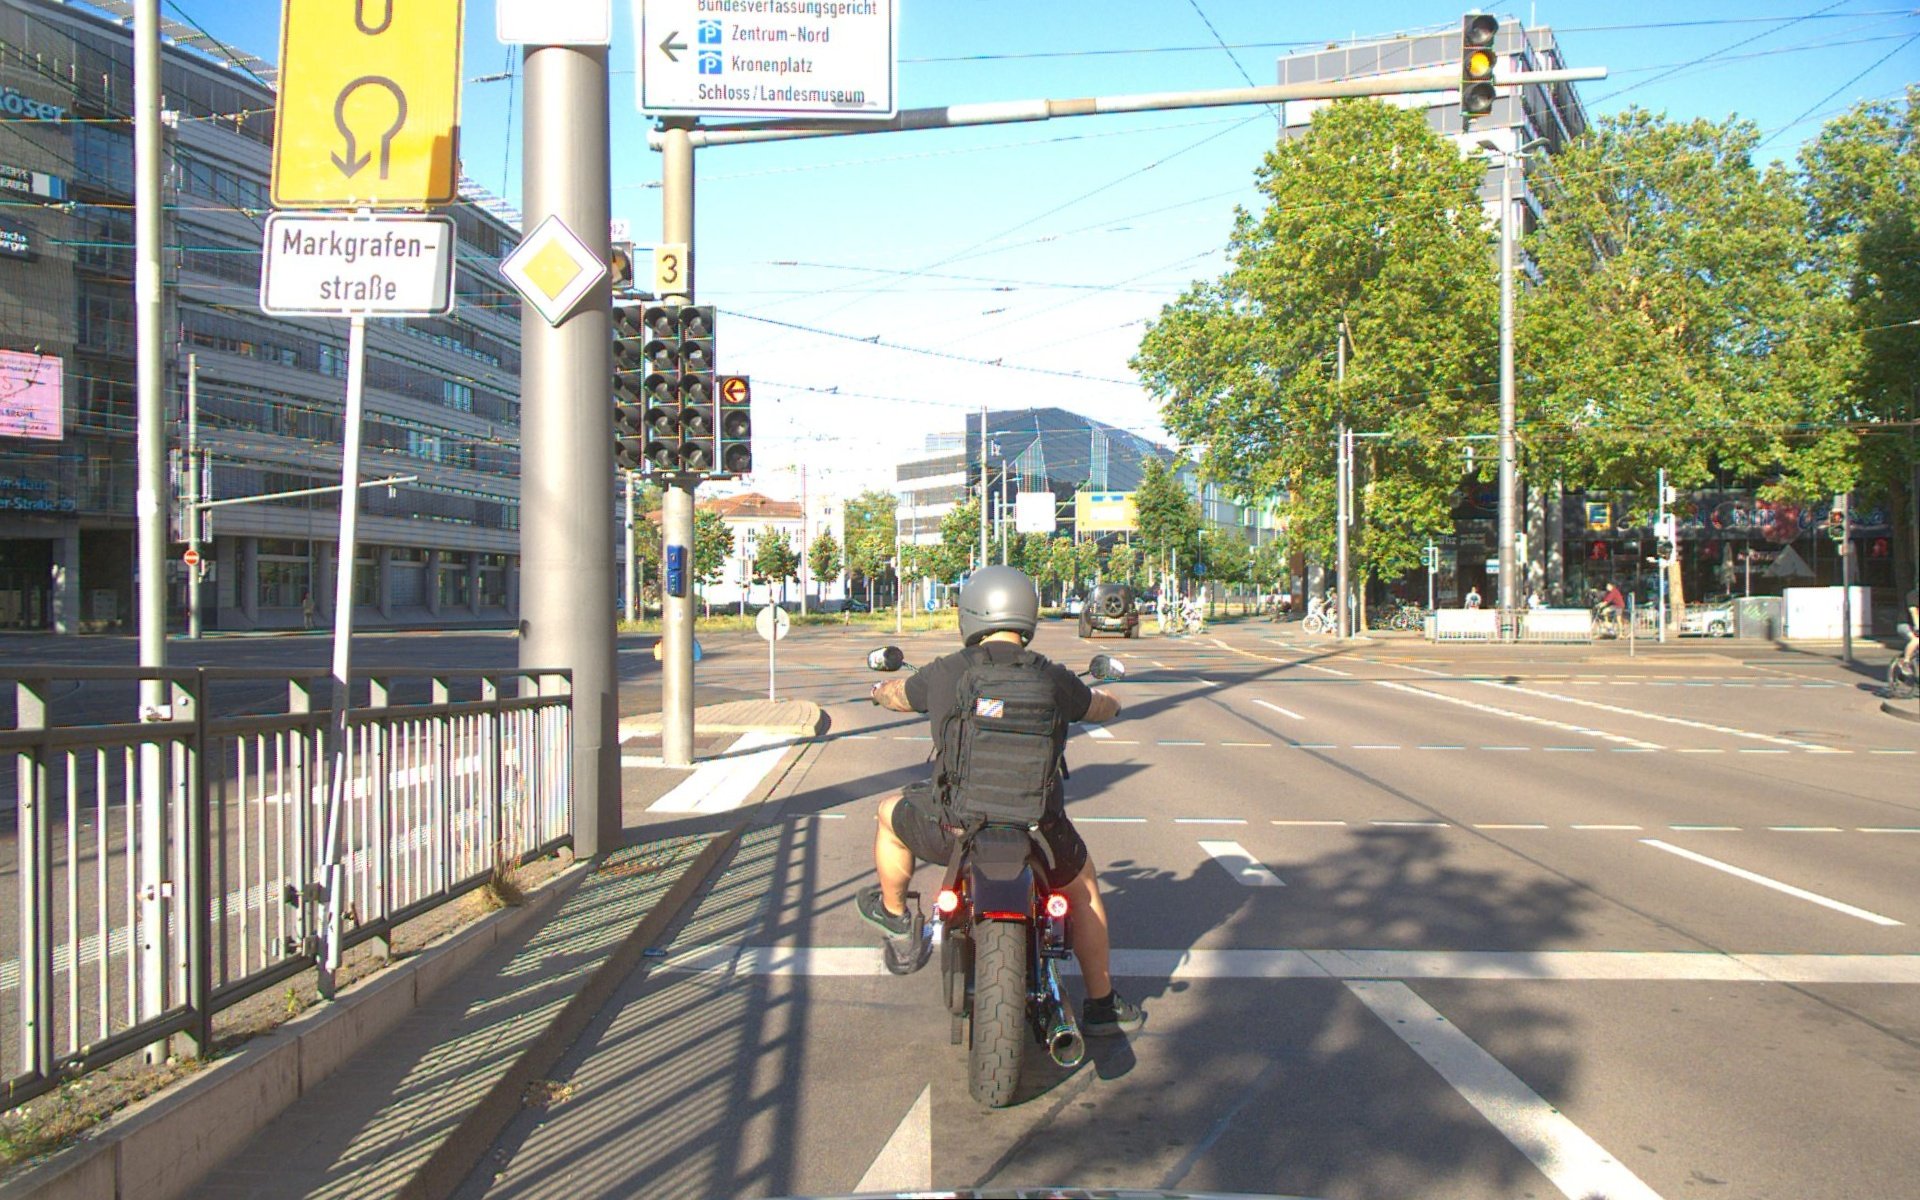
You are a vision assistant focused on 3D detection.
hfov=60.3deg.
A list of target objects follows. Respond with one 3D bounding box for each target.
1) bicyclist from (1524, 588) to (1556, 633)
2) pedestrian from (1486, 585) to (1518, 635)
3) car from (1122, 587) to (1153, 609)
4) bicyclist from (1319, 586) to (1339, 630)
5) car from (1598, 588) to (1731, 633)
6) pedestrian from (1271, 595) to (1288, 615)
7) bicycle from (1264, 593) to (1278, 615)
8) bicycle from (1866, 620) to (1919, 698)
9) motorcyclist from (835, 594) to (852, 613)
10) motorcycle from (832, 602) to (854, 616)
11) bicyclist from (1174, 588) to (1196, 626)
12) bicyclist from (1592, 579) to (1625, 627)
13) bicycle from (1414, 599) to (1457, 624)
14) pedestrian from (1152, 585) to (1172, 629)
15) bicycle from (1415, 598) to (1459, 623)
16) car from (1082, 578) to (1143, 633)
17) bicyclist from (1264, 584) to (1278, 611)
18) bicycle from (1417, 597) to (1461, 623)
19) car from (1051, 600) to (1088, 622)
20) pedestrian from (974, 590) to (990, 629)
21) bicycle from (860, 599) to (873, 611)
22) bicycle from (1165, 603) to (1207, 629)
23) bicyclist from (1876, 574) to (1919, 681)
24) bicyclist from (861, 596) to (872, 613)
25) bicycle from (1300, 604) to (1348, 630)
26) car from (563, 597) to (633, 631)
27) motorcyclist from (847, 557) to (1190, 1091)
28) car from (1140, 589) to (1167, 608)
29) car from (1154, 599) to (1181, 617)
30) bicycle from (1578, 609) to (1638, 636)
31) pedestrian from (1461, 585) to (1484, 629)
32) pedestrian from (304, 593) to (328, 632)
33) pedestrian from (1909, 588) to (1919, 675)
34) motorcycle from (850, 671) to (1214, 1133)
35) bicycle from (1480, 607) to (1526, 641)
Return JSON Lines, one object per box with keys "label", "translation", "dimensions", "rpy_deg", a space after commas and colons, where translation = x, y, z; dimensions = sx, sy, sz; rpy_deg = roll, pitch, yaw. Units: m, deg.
{"label": "bicyclist", "translation": [25.569, 0.467, 72.912], "dimensions": [1.200, 1.965, 0.836], "rpy_deg": [0, 0, 7]}
{"label": "pedestrian", "translation": [17.928, 0.333, 54.740], "dimensions": [0.754, 1.622, 0.838], "rpy_deg": [1, -1, -2]}
{"label": "car", "translation": [15.199, -0.179, 141.435], "dimensions": [1.781, 1.849, 3.944], "rpy_deg": [0, 0, 20]}
{"label": "bicyclist", "translation": [14.603, 0.314, 65.405], "dimensions": [0.727, 1.724, 0.570], "rpy_deg": [-1, -1, 10]}
{"label": "car", "translation": [24.999, 0.384, 58.822], "dimensions": [3.903, 1.512, 2.001], "rpy_deg": [1, 0, 4]}
{"label": "pedestrian", "translation": [17.545, 0.296, 90.947], "dimensions": [0.768, 1.075, 0.814], "rpy_deg": [0, 0, 22]}
{"label": "bicycle", "translation": [21.406, 0.258, 113.764], "dimensions": [0.842, 1.507, 2.578], "rpy_deg": [0, 0, 14]}
{"label": "bicycle", "translation": [14.396, 0.881, 24.825], "dimensions": [0.588, 1.068, 1.882], "rpy_deg": [-5, 0, 4]}
{"label": "motorcyclist", "translation": [-10.501, 0.326, 148.995], "dimensions": [0.997, 1.761, 1.461], "rpy_deg": [0, 0, 17]}
{"label": "motorcycle", "translation": [-10.525, 0.813, 148.937], "dimensions": [0.963, 1.253, 2.945], "rpy_deg": [0, 0, 17]}
{"label": "bicyclist", "translation": [9.153, 0.297, 67.315], "dimensions": [0.727, 1.529, 0.570], "rpy_deg": [-1, -1, 23]}
{"label": "bicyclist", "translation": [22.343, 0.090, 56.972], "dimensions": [0.906, 1.643, 0.638], "rpy_deg": [0, 0, 3]}
{"label": "bicycle", "translation": [19.435, 0.457, 67.605], "dimensions": [1.668, 1.003, 0.391], "rpy_deg": [0, 0, 13]}
{"label": "pedestrian", "translation": [8.477, 0.292, 69.403], "dimensions": [0.688, 1.869, 0.513], "rpy_deg": [1, -1, 35]}
{"label": "bicycle", "translation": [19.227, 0.430, 66.691], "dimensions": [1.668, 1.003, 0.391], "rpy_deg": [0, 0, 13]}
{"label": "car", "translation": [5.533, 0.208, 60.469], "dimensions": [2.010, 1.906, 4.228], "rpy_deg": [1, 0, 2]}
{"label": "bicyclist", "translation": [21.426, -0.162, 113.852], "dimensions": [0.842, 1.873, 1.258], "rpy_deg": [0, 0, 14]}
{"label": "bicycle", "translation": [19.075, 0.392, 65.844], "dimensions": [1.668, 1.003, 0.391], "rpy_deg": [0, 0, 13]}
{"label": "car", "translation": [7.779, 0.787, 117.250], "dimensions": [1.861, 1.534, 4.003], "rpy_deg": [1, 0, 15]}
{"label": "pedestrian", "translation": [0.905, 0.389, 68.993], "dimensions": [0.643, 1.610, 0.489], "rpy_deg": [0, 0, 3]}
{"label": "bicycle", "translation": [-8.963, 0.489, 158.305], "dimensions": [0.629, 1.127, 1.686], "rpy_deg": [0, 0, 17]}
{"label": "bicycle", "translation": [9.195, 0.671, 67.288], "dimensions": [1.594, 1.039, 0.516], "rpy_deg": [-1, -1, 23]}
{"label": "bicyclist", "translation": [14.369, 0.405, 24.972], "dimensions": [0.566, 1.541, 0.851], "rpy_deg": [-4, 1, 5]}
{"label": "bicyclist", "translation": [-8.975, 0.432, 158.304], "dimensions": [0.747, 1.696, 0.994], "rpy_deg": [0, 0, 16]}
{"label": "bicycle", "translation": [14.384, 0.673, 65.432], "dimensions": [1.813, 1.039, 0.517], "rpy_deg": [-1, -1, 11]}
{"label": "car", "translation": [-17.103, 0.635, 78.318], "dimensions": [1.753, 1.491, 4.315], "rpy_deg": [-1, 1, 9]}
{"label": "motorcyclist", "translation": [0.167, 0.667, 5.579], "dimensions": [1.001, 1.579, 1.286], "rpy_deg": [1, 0, -1]}
{"label": "car", "translation": [17.396, -0.171, 148.541], "dimensions": [1.684, 1.686, 3.755], "rpy_deg": [0, 0, 19]}
{"label": "car", "translation": [17.111, 0.663, 136.295], "dimensions": [1.802, 1.490, 4.003], "rpy_deg": [1, 0, 14]}
{"label": "bicycle", "translation": [22.319, 0.765, 56.971], "dimensions": [1.814, 0.926, 0.652], "rpy_deg": [0, 0, 3]}
{"label": "pedestrian", "translation": [22.097, 0.306, 71.382], "dimensions": [0.829, 1.884, 0.810], "rpy_deg": [2, 0, 14]}
{"label": "pedestrian", "translation": [-30.339, 0.588, 77.970], "dimensions": [0.660, 1.855, 0.886], "rpy_deg": [-2, -1, 9]}
{"label": "pedestrian", "translation": [17.560, 0.572, 29.600], "dimensions": [0.662, 1.566, 0.741], "rpy_deg": [1, -1, -8]}
{"label": "motorcycle", "translation": [0.182, 0.883, 5.715], "dimensions": [0.985, 1.145, 2.323], "rpy_deg": [1, 0, -1]}
{"label": "bicycle", "translation": [17.938, 0.780, 54.668], "dimensions": [0.774, 1.070, 1.922], "rpy_deg": [1, 0, -3]}
